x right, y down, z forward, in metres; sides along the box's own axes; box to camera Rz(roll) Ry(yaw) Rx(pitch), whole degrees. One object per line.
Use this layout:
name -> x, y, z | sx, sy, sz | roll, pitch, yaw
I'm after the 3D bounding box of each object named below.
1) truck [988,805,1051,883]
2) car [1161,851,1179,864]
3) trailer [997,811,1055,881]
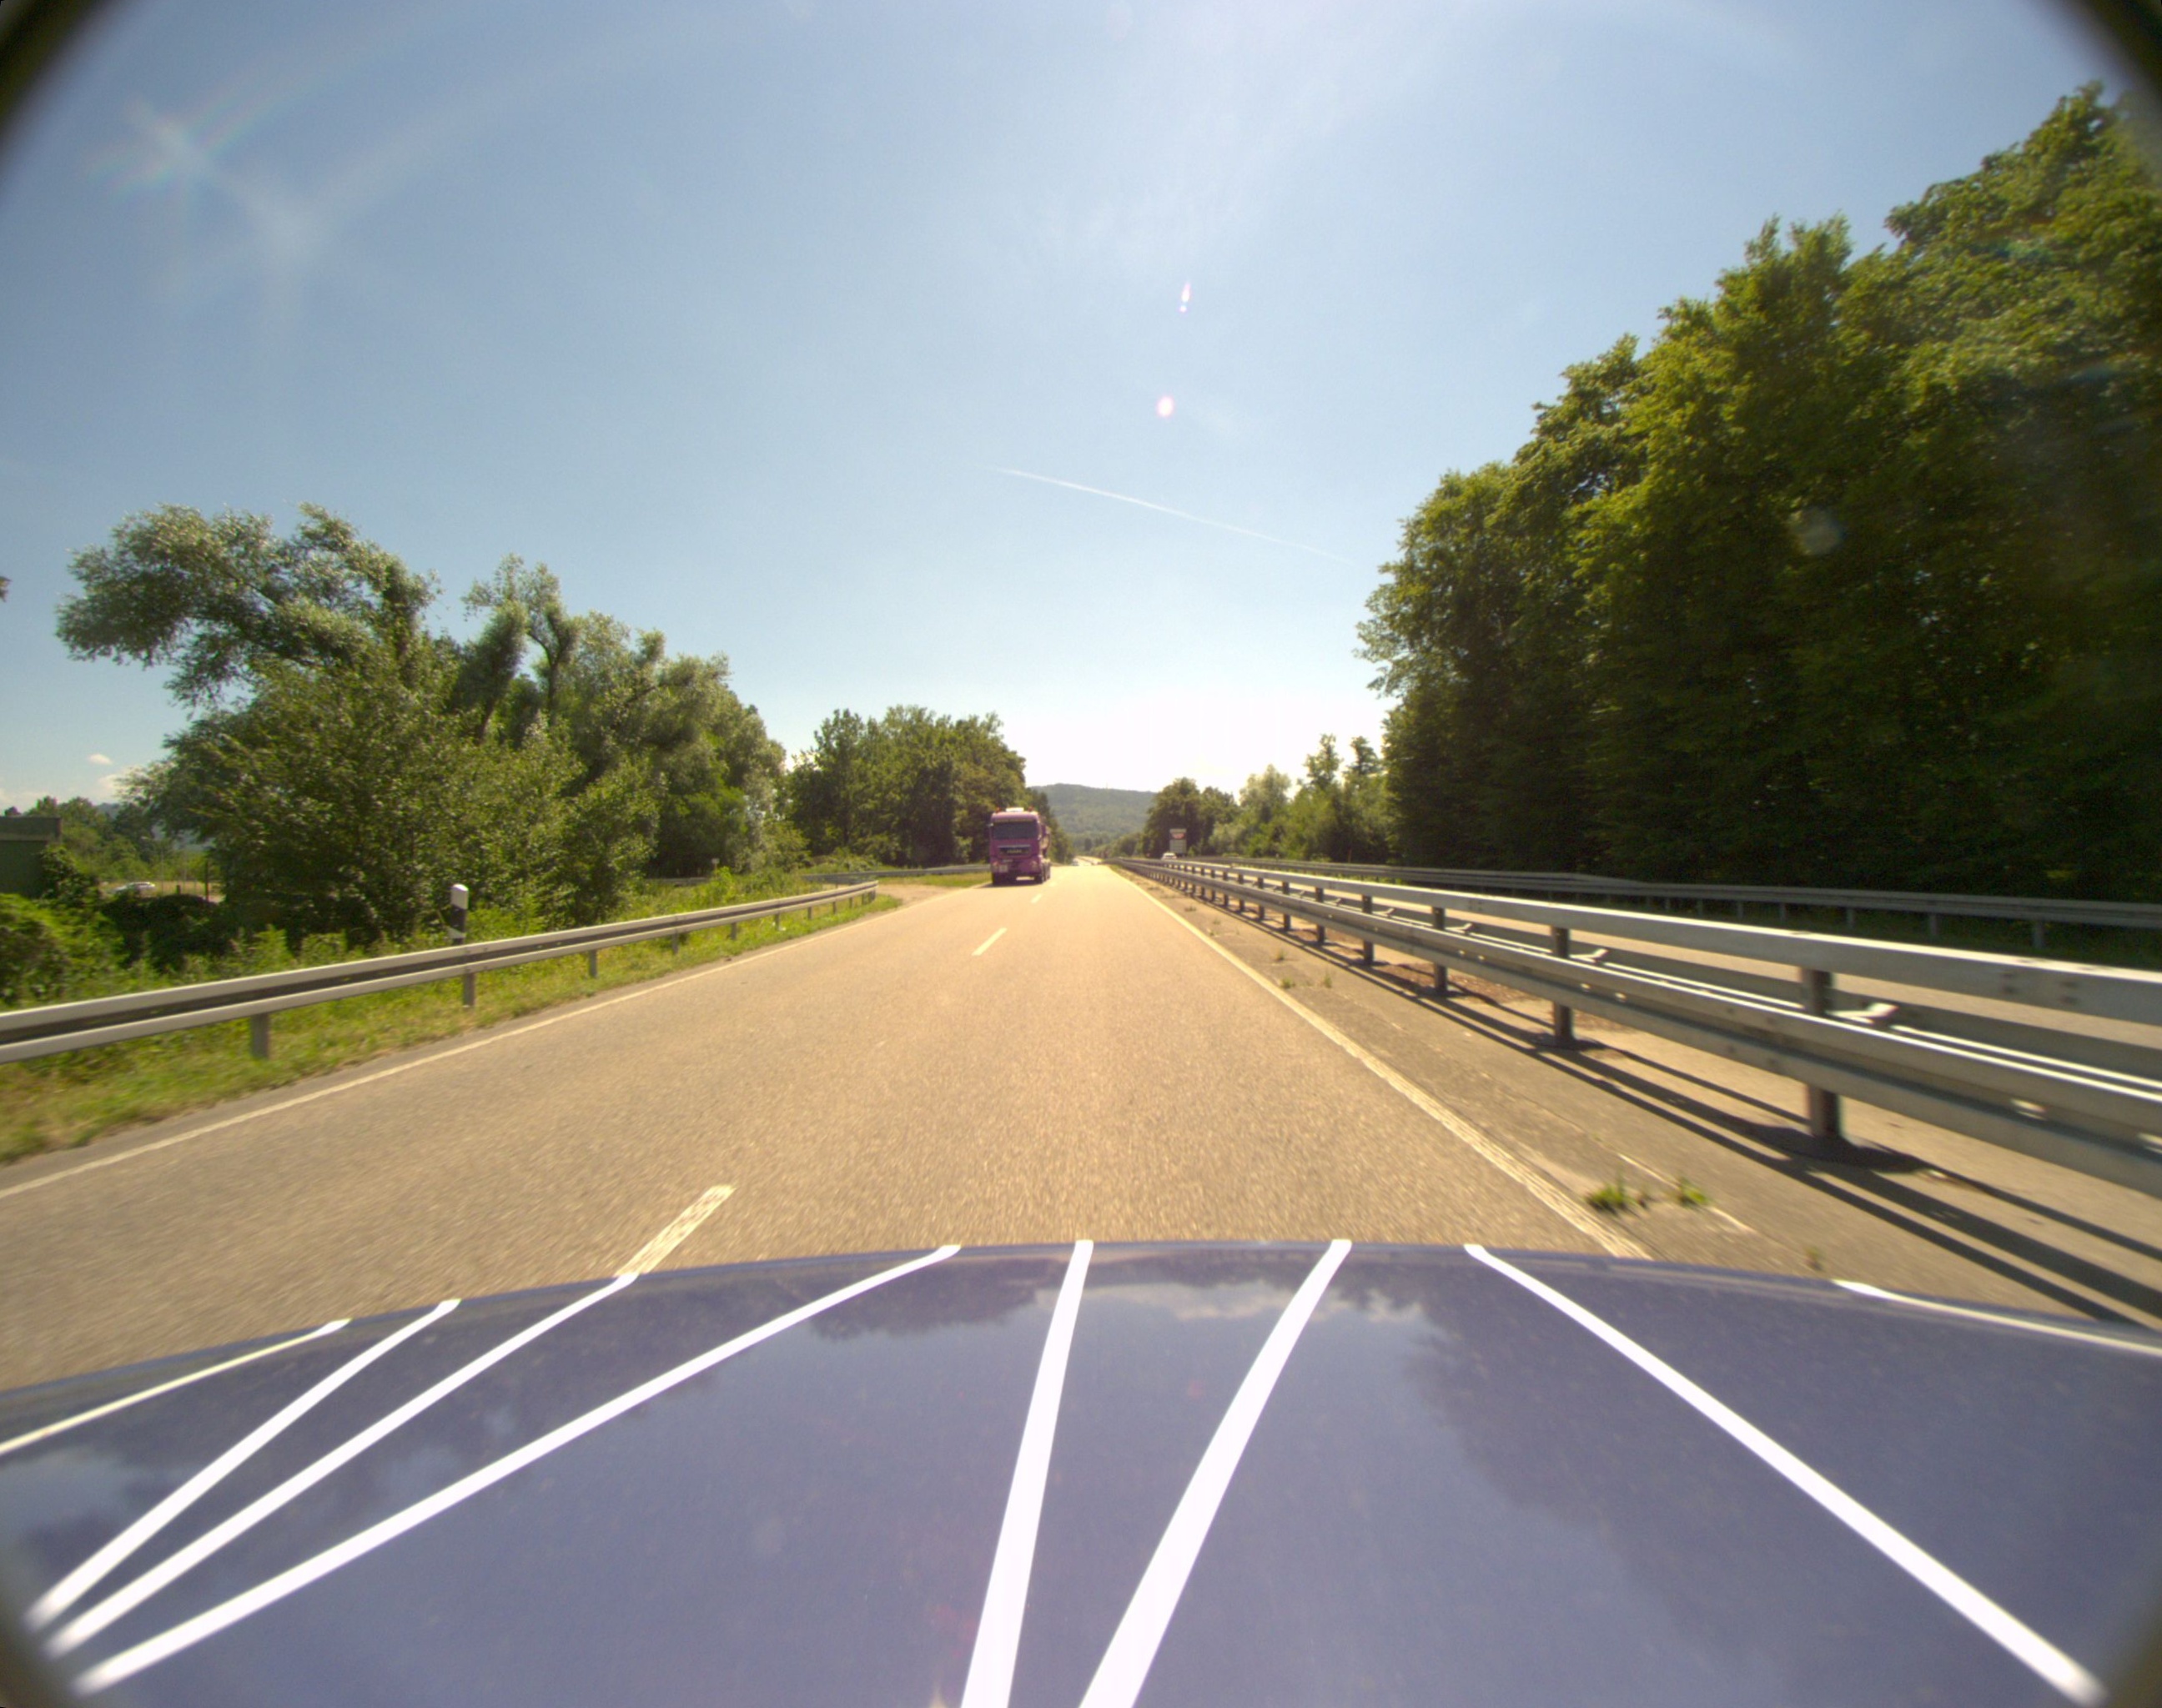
truck -> -3.067, -0.454, 39.382 | 2.605, 3.670, 5.939 | -2, 0, 0
car -> 11.336, 0.453, 97.140 | 1.823, 1.589, 4.840 | 1, 1, 0
trailer -> -3.059, -0.372, 44.567 | 2.605, 3.608, 8.614 | -2, 0, 0
